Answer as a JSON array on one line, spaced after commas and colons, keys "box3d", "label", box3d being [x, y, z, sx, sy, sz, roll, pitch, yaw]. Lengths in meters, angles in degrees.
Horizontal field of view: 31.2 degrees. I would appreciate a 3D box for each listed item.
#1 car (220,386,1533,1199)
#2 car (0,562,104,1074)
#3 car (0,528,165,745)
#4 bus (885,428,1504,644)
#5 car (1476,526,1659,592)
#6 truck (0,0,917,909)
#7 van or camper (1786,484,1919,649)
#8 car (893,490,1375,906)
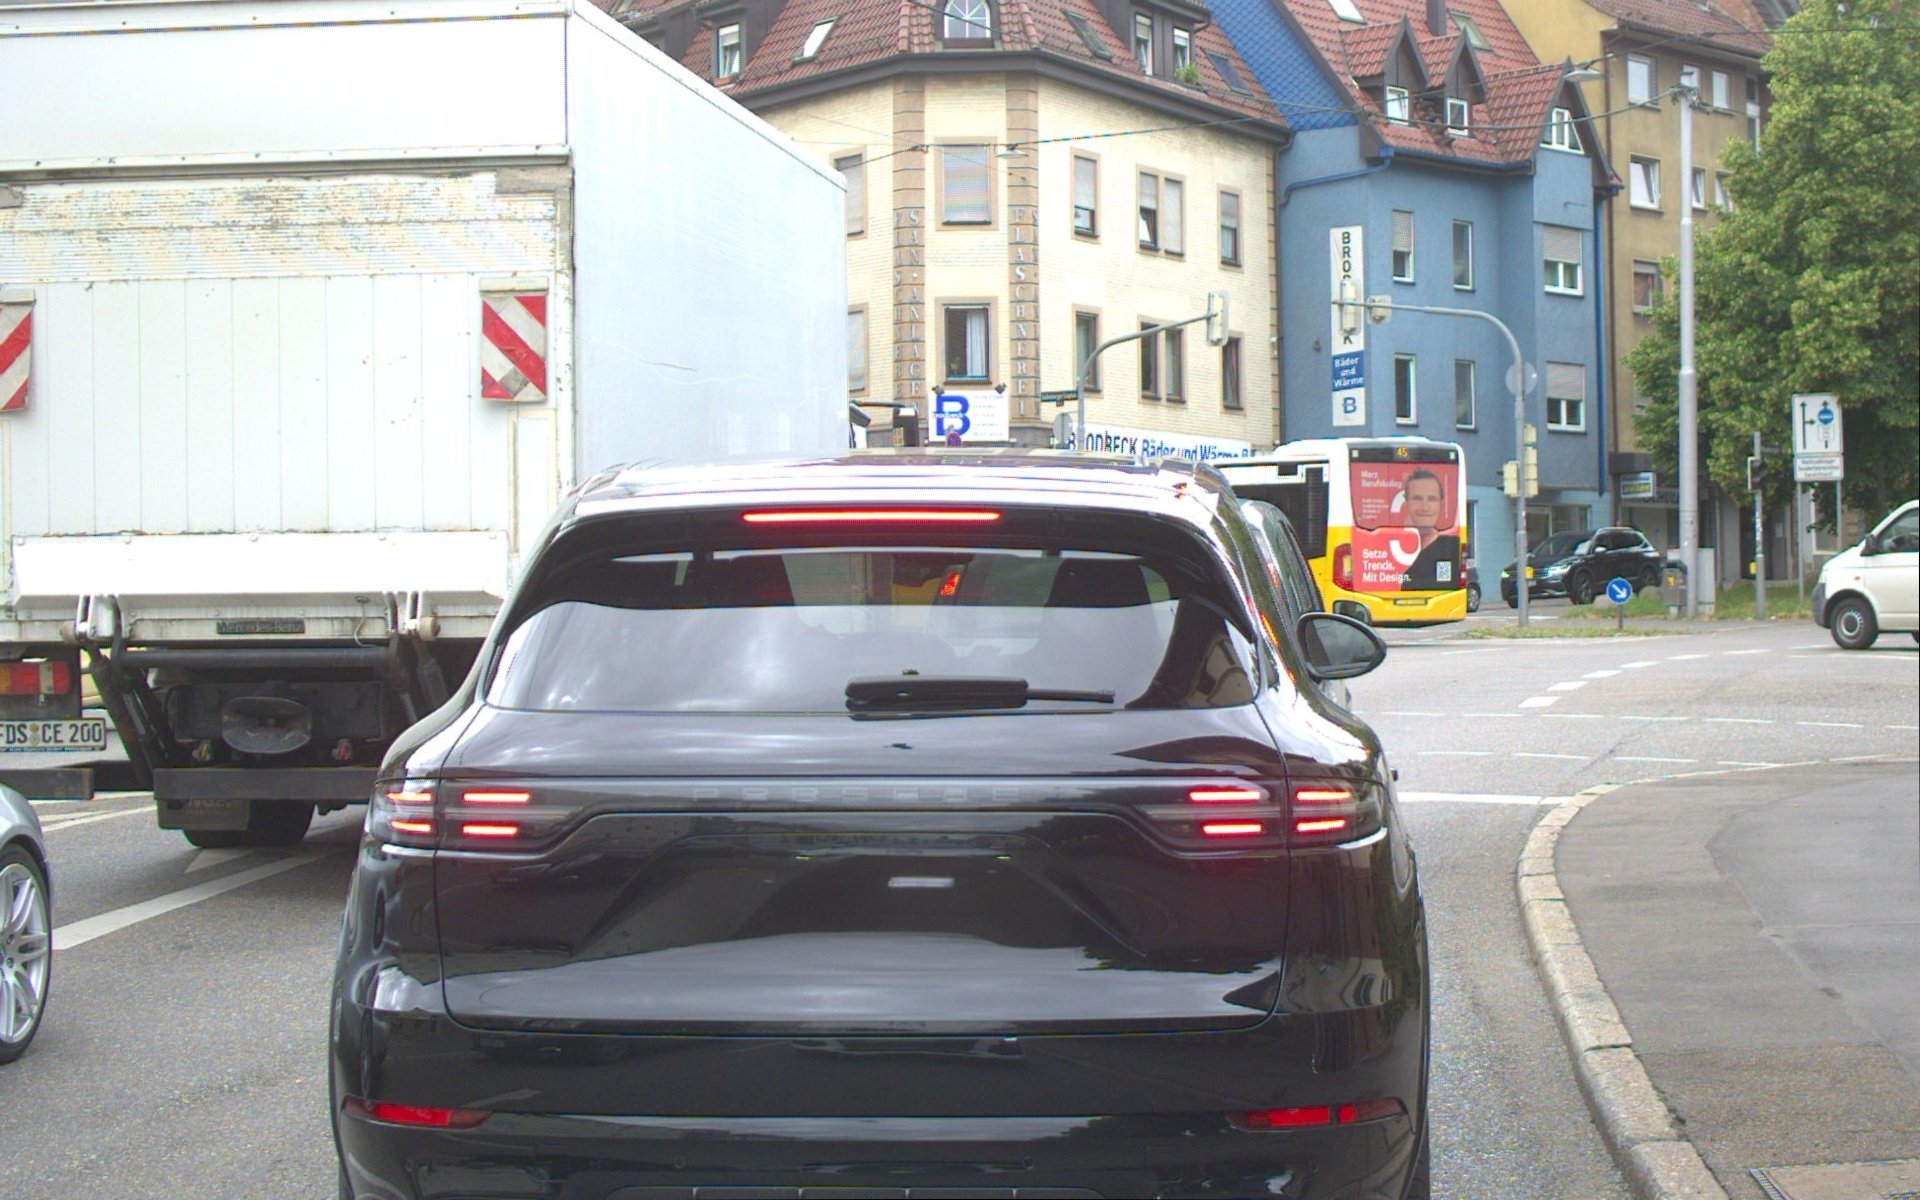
[{"box3d": [-0.158, 0.488, 7.615, 2.031, 1.717, 4.500, 1, 1, -1], "label": "car"}, {"box3d": [-3.486, 0.625, 8.036, 1.629, 1.360, 4.128, -1, 1, 5], "label": "car"}, {"box3d": [-7.308, 0.248, 25.809, 1.598, 1.512, 3.459, -2, 1, 5], "label": "car"}, {"box3d": [3.374, -0.918, 55.105, 3.157, 3.085, 12.150, -1, 0, -33], "label": "bus"}, {"box3d": [13.517, -0.889, 76.304, 1.874, 1.411, 4.687, 0, 0, 41], "label": "car"}, {"box3d": [-2.212, -0.698, 17.359, 2.726, 3.532, 8.419, 1, 1, 8], "label": "truck"}, {"box3d": [12.731, -0.395, 42.238, 1.994, 2.007, 4.830, 0, 1, -37], "label": "van or camper"}, {"box3d": [0.866, 0.353, 14.863, 1.649, 1.550, 3.581, 1, 1, 10], "label": "car"}]
